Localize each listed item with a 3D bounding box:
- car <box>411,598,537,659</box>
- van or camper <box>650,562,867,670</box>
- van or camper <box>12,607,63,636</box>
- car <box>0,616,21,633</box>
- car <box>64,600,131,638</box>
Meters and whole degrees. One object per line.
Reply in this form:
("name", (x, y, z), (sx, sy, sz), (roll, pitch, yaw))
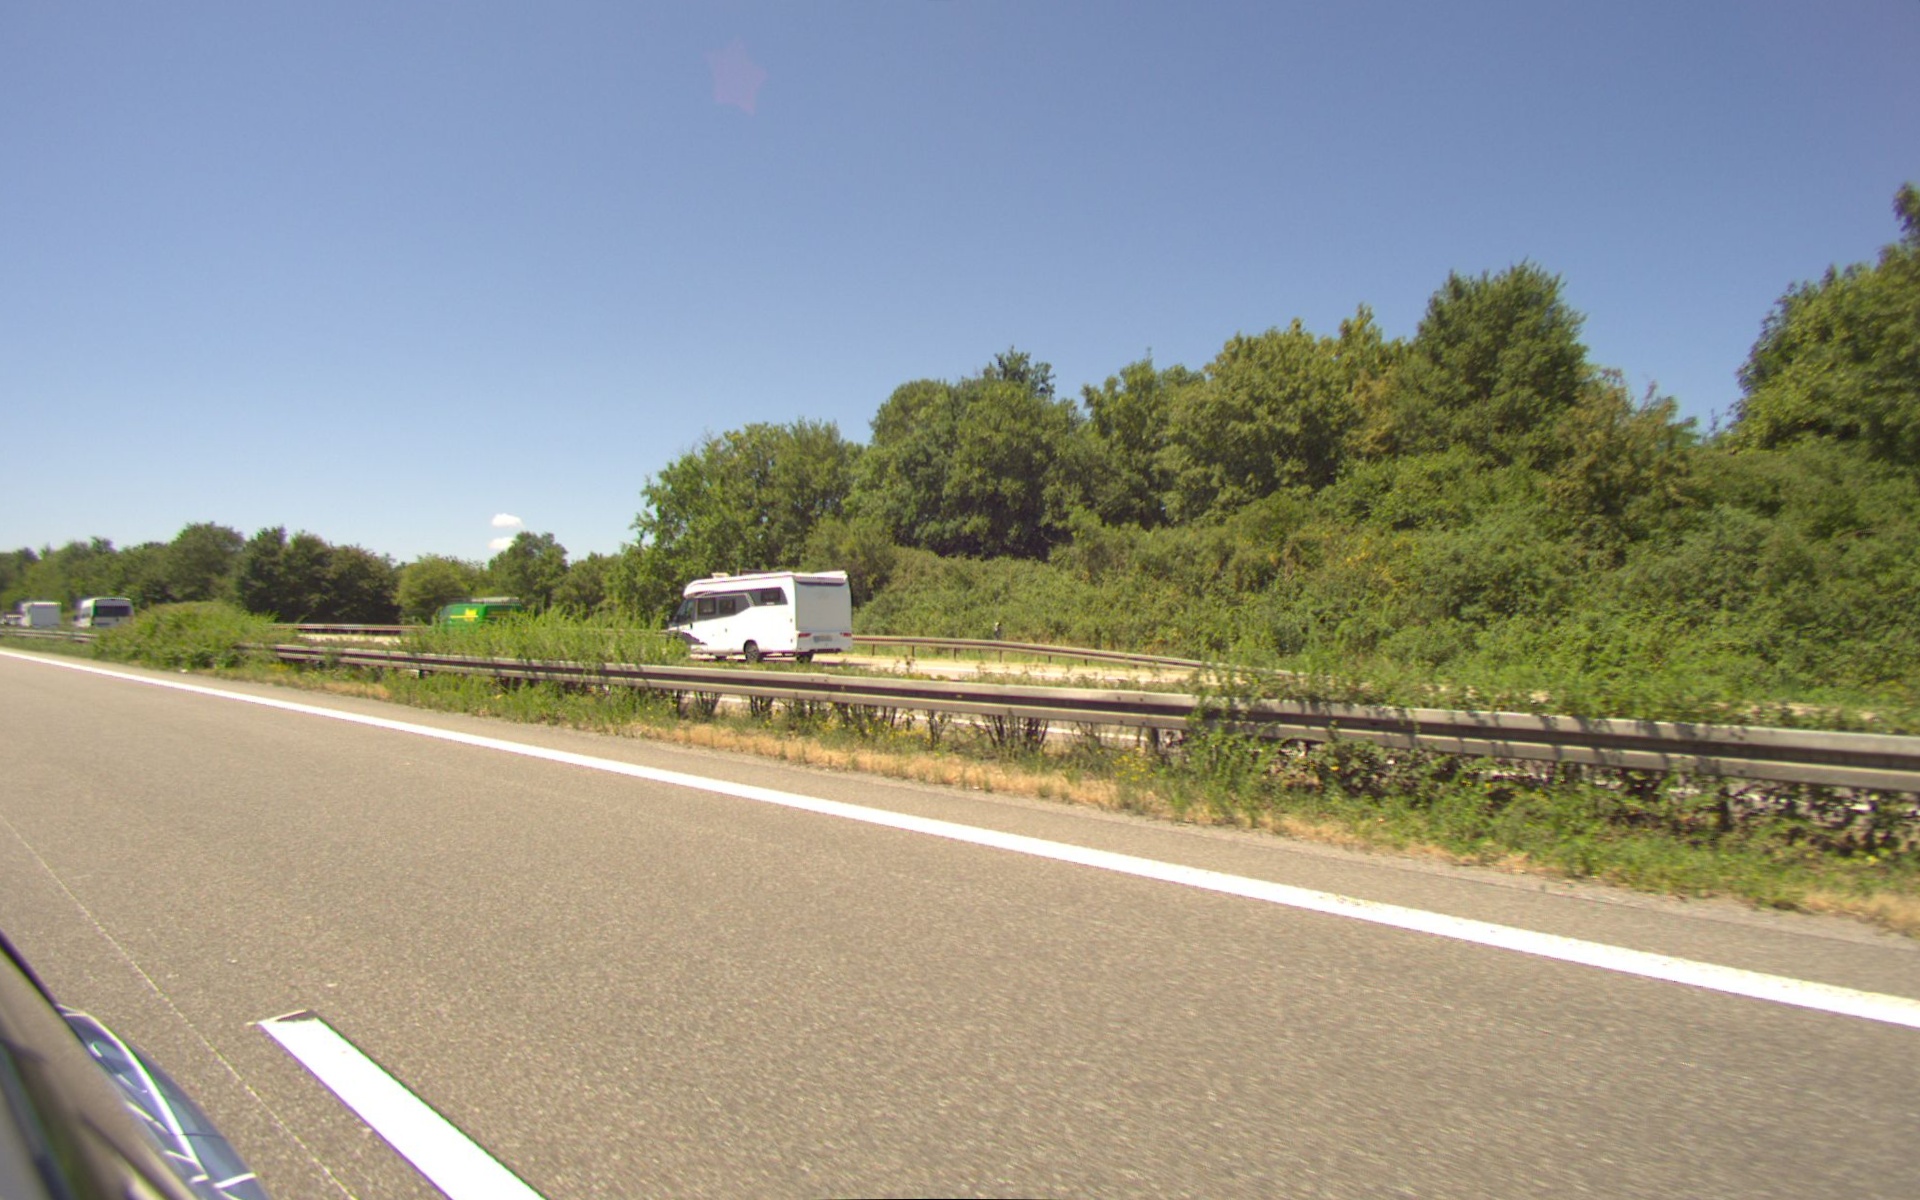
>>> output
("car", (-18.936, 1.065, 39.287), (5.942, 2.203, 2.258), (-1, -1, 41))
("van or camper", (-6.547, 0.512, 31.983), (7.752, 3.026, 2.579), (-1, -1, 41))
("van or camper", (-89.582, 2.074, 98.198), (6.743, 2.711, 2.912), (-1, -1, 41))
("car", (-119.022, 3.048, 126.481), (3.997, 2.029, 1.973), (-1, 0, 40))
("car", (-52.435, 1.140, 61.482), (6.382, 2.203, 2.208), (-1, -1, 41))
